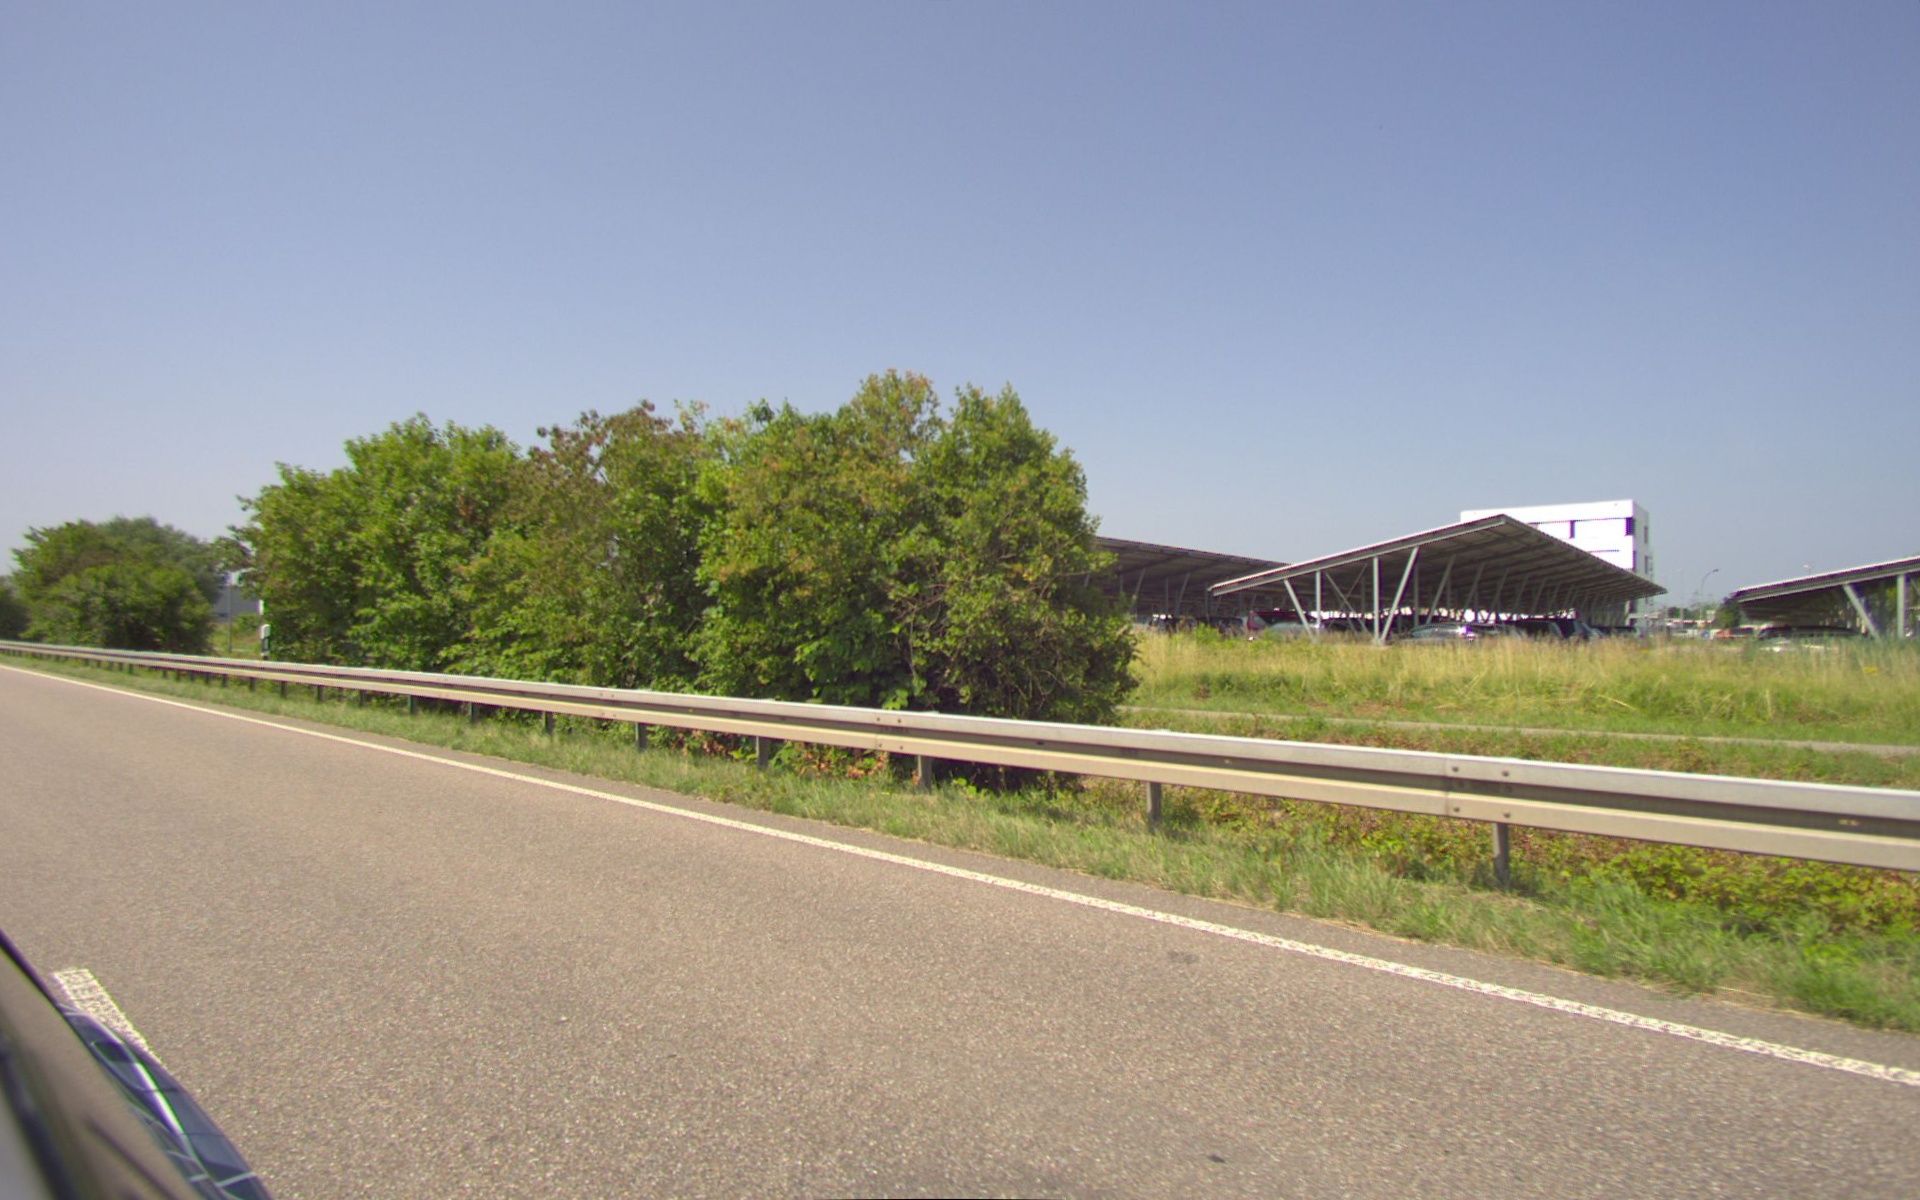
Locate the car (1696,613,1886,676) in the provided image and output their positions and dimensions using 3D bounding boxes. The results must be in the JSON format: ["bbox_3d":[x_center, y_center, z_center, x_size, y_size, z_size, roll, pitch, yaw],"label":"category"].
[{"bbox_3d":[23.313,1.213,28.502,3.998,1.589,1.973,-2,-1,41],"label":"car"}]

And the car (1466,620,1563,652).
[{"bbox_3d":[23.372,1.512,42.675,3.360,1.301,1.603,-2,-1,38],"label":"car"}]

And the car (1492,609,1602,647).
[{"bbox_3d":[26.515,1.262,45.752,3.998,1.589,1.973,-2,-1,41],"label":"car"}]

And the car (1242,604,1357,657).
[{"bbox_3d":[13.576,1.224,40.522,3.991,2.029,1.976,-1,-2,36],"label":"car"}]

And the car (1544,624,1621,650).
[{"bbox_3d":[40.018,2.353,65.084,3.995,1.589,1.974,-2,-1,39],"label":"car"}]

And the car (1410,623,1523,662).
[{"bbox_3d":[18.182,1.503,36.369,3.360,1.301,1.603,-2,-1,38],"label":"car"}]

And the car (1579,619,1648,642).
[{"bbox_3d":[48.296,2.242,74.821,3.998,1.589,1.973,-2,-1,41],"label":"car"}]

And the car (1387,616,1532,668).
[{"bbox_3d":[16.720,1.383,33.980,3.998,1.589,1.973,-2,-1,41],"label":"car"}]

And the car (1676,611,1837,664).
[{"bbox_3d":[25.941,1.189,33.028,3.998,1.589,1.973,-2,-1,41],"label":"car"}]

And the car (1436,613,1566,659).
[{"bbox_3d":[20.459,1.336,38.323,3.998,1.589,1.973,-2,-1,41],"label":"car"}]

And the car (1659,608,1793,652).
[{"bbox_3d":[29.666,1.155,39.227,3.998,1.589,1.973,-2,-1,41],"label":"car"}]

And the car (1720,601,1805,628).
[{"bbox_3d":[49.383,0.907,62.326,3.998,1.589,1.973,-2,-1,41],"label":"car"}]

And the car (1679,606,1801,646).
[{"bbox_3d":[33.126,1.110,43.013,3.998,1.589,1.973,-2,-1,41],"label":"car"}]
